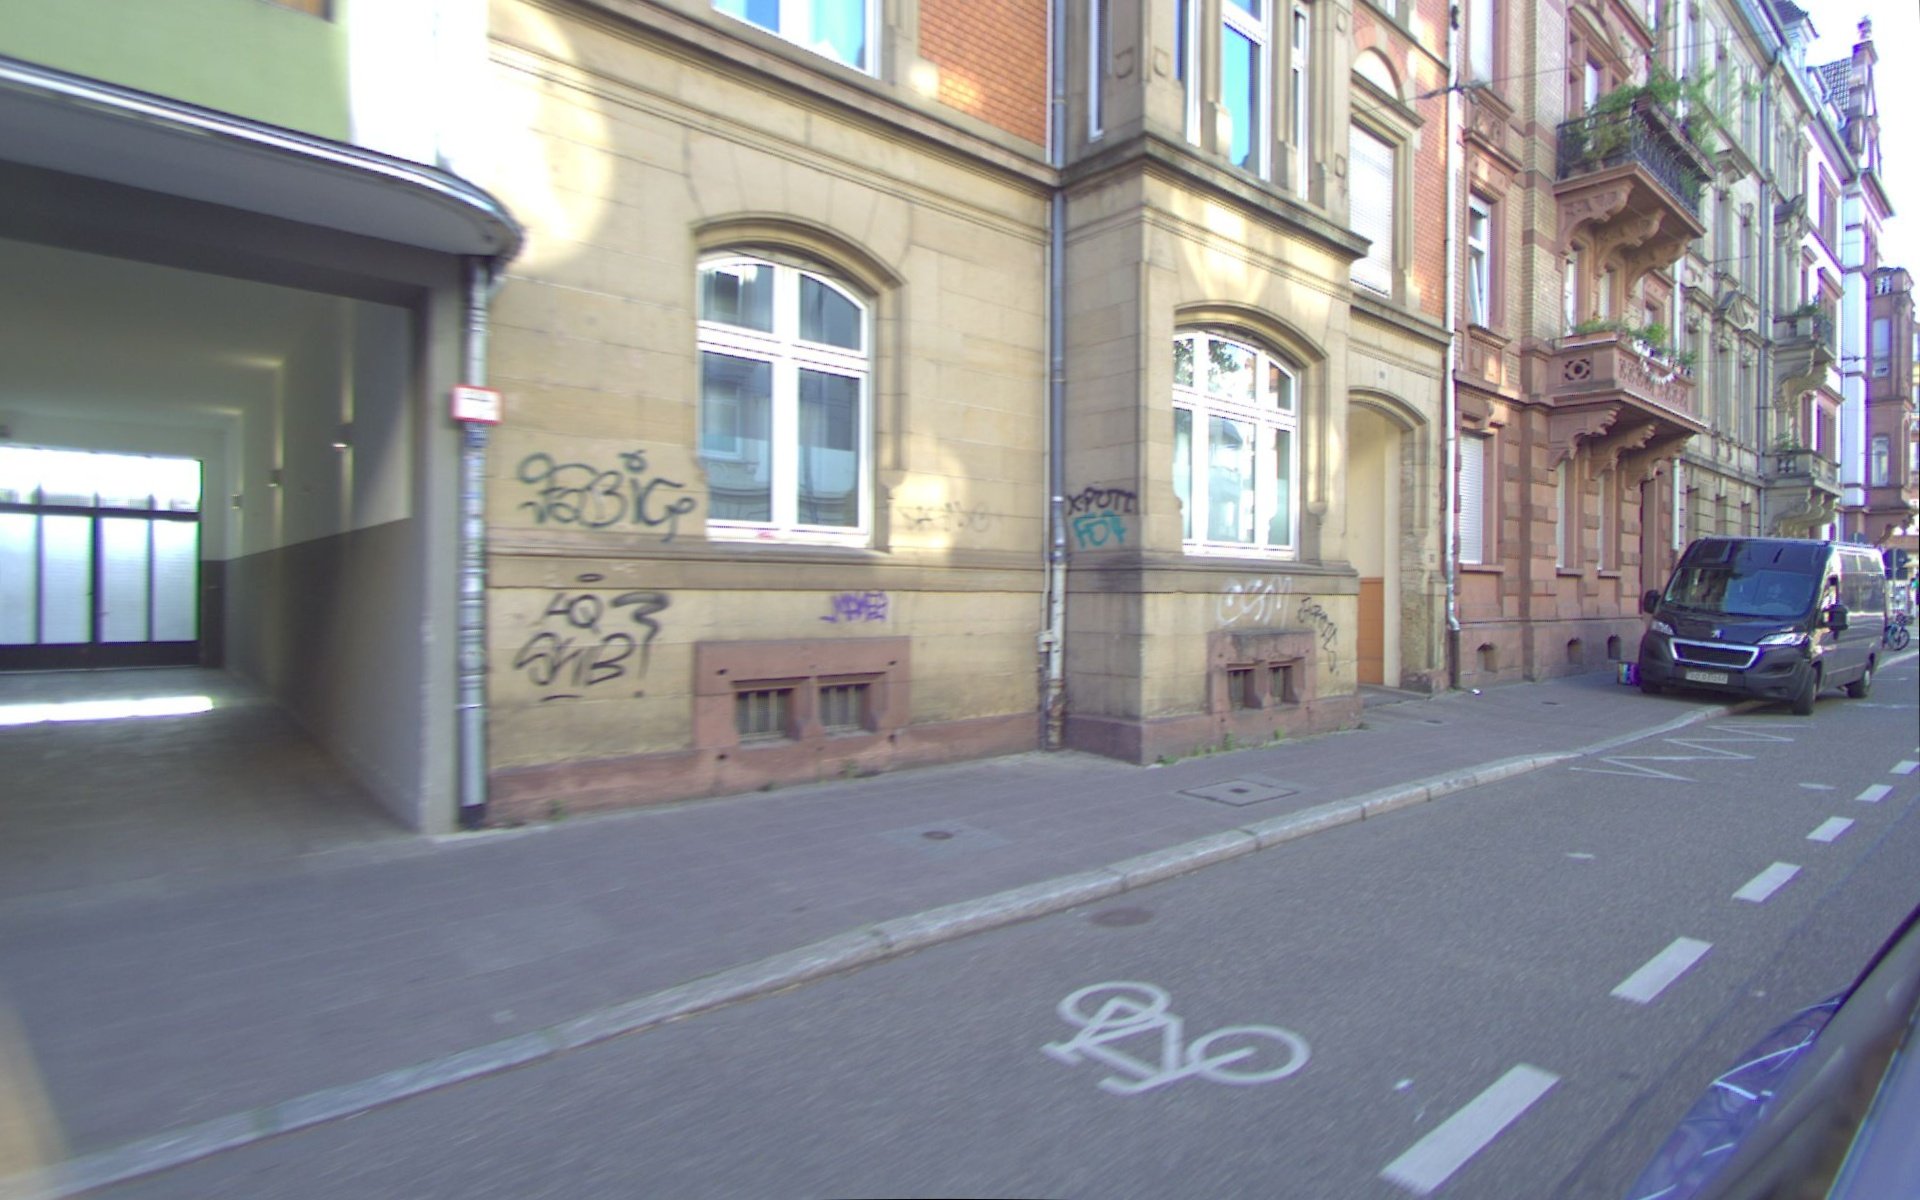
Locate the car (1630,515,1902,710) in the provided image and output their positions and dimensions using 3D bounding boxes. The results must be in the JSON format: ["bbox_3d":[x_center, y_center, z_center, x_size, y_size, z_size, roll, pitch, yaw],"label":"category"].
[{"bbox_3d":[12.688,0.124,15.764,5.751,2.524,2.127,-1,0,-39],"label":"car"}]

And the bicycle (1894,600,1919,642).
[{"bbox_3d":[27.832,0.600,29.558,1.659,1.164,0.647,0,1,-41],"label":"bicycle"}]
